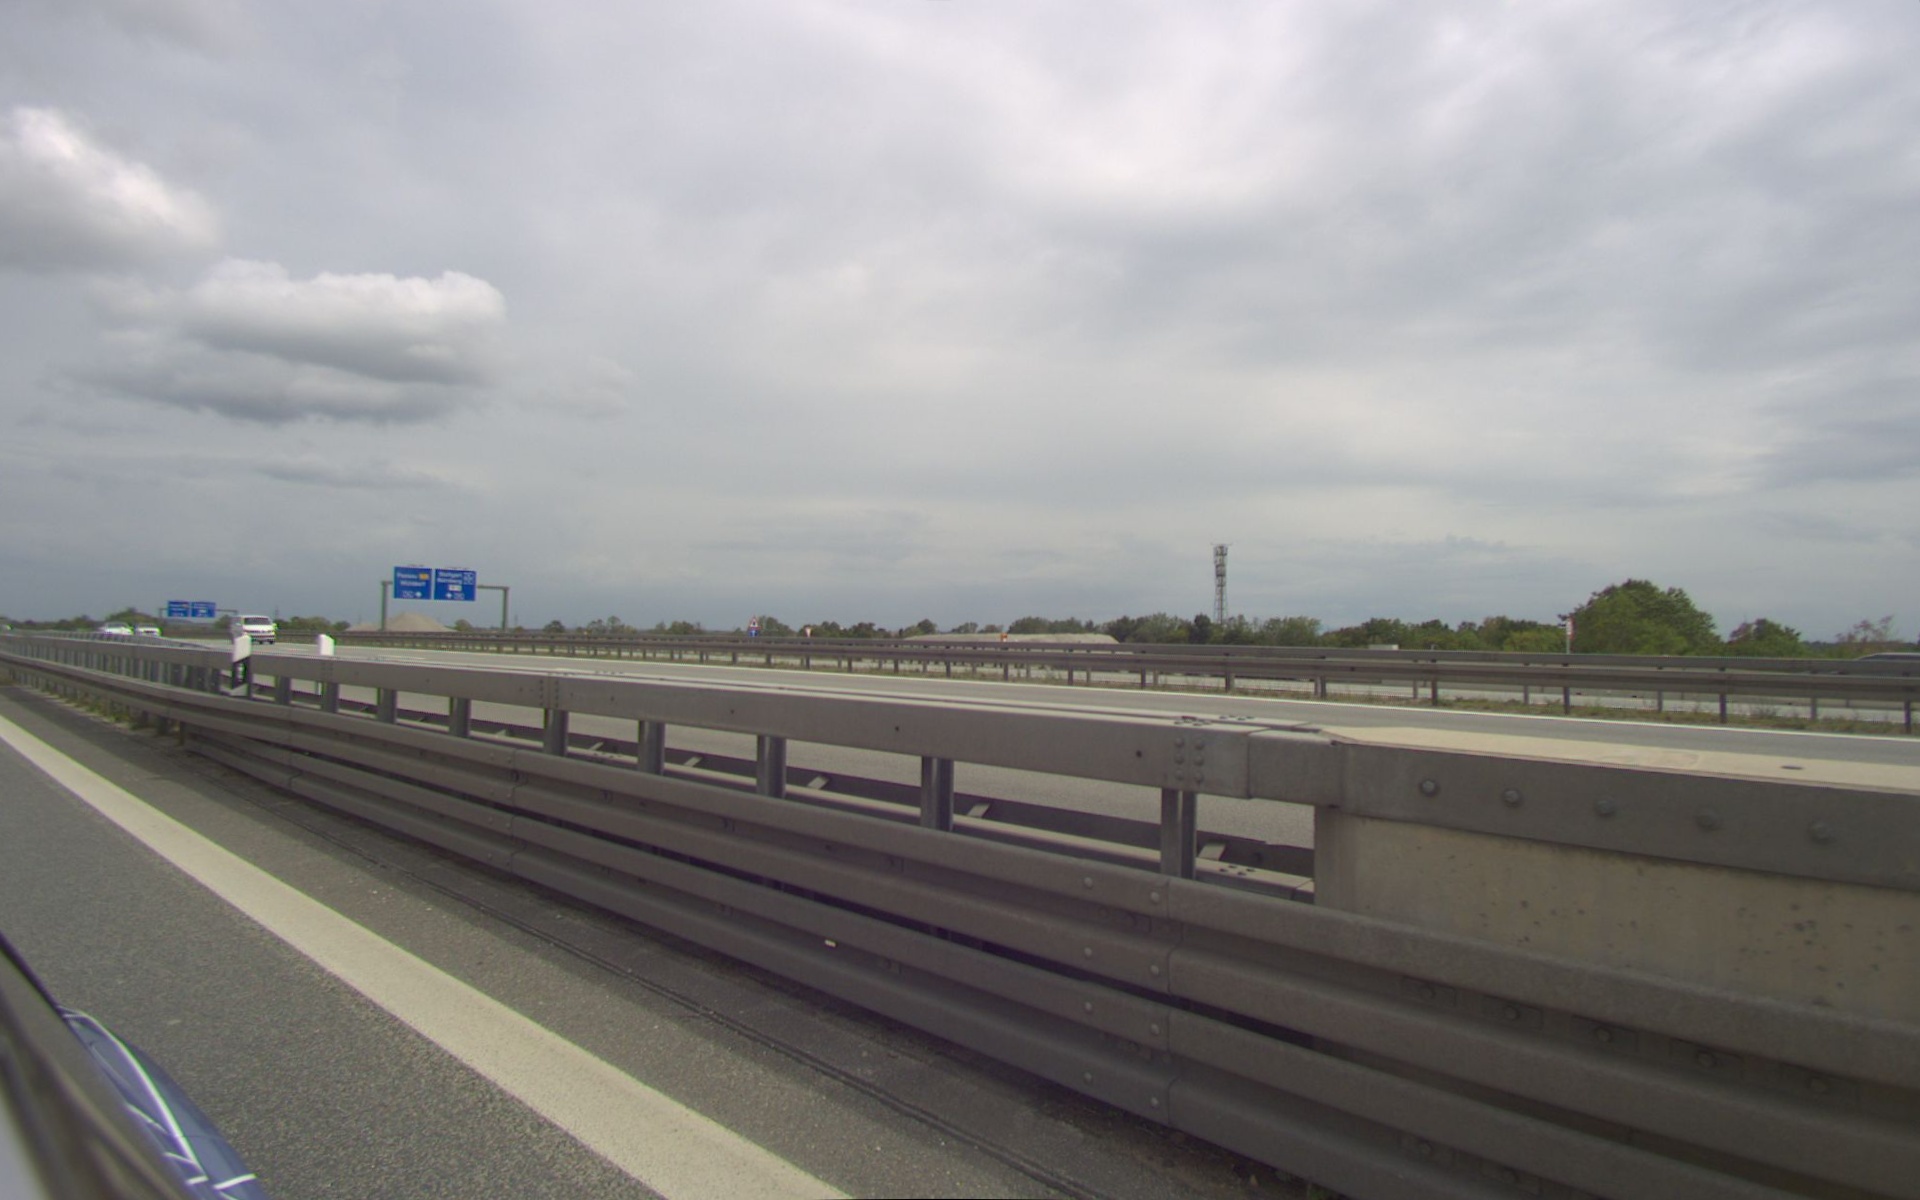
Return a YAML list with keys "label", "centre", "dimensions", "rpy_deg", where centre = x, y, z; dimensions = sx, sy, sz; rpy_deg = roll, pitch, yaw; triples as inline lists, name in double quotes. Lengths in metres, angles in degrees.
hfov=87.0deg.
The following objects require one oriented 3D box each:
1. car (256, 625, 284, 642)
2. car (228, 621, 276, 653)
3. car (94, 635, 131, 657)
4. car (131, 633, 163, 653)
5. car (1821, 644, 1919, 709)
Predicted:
- label: "car"
  centre: [-84.166, 4.116, 123.453]
  dimensions: [4.506, 1.876, 1.971]
  rpy_deg: [-2, 1, 44]
- label: "car"
  centre: [-48.070, 2.523, 68.652]
  dimensions: [1.971, 2.029, 4.468]
  rpy_deg: [0, -2, -45]
- label: "car"
  centre: [-74.202, 4.023, 88.565]
  dimensions: [4.000, 1.763, 1.972]
  rpy_deg: [-3, -2, 43]
- label: "car"
  centre: [-82.186, 4.356, 102.260]
  dimensions: [4.000, 1.896, 1.972]
  rpy_deg: [-3, -2, 43]
- label: "car"
  centre: [25.560, 2.014, 26.637]
  dimensions: [1.889, 1.586, 4.188]
  rpy_deg: [0, -1, -43]
